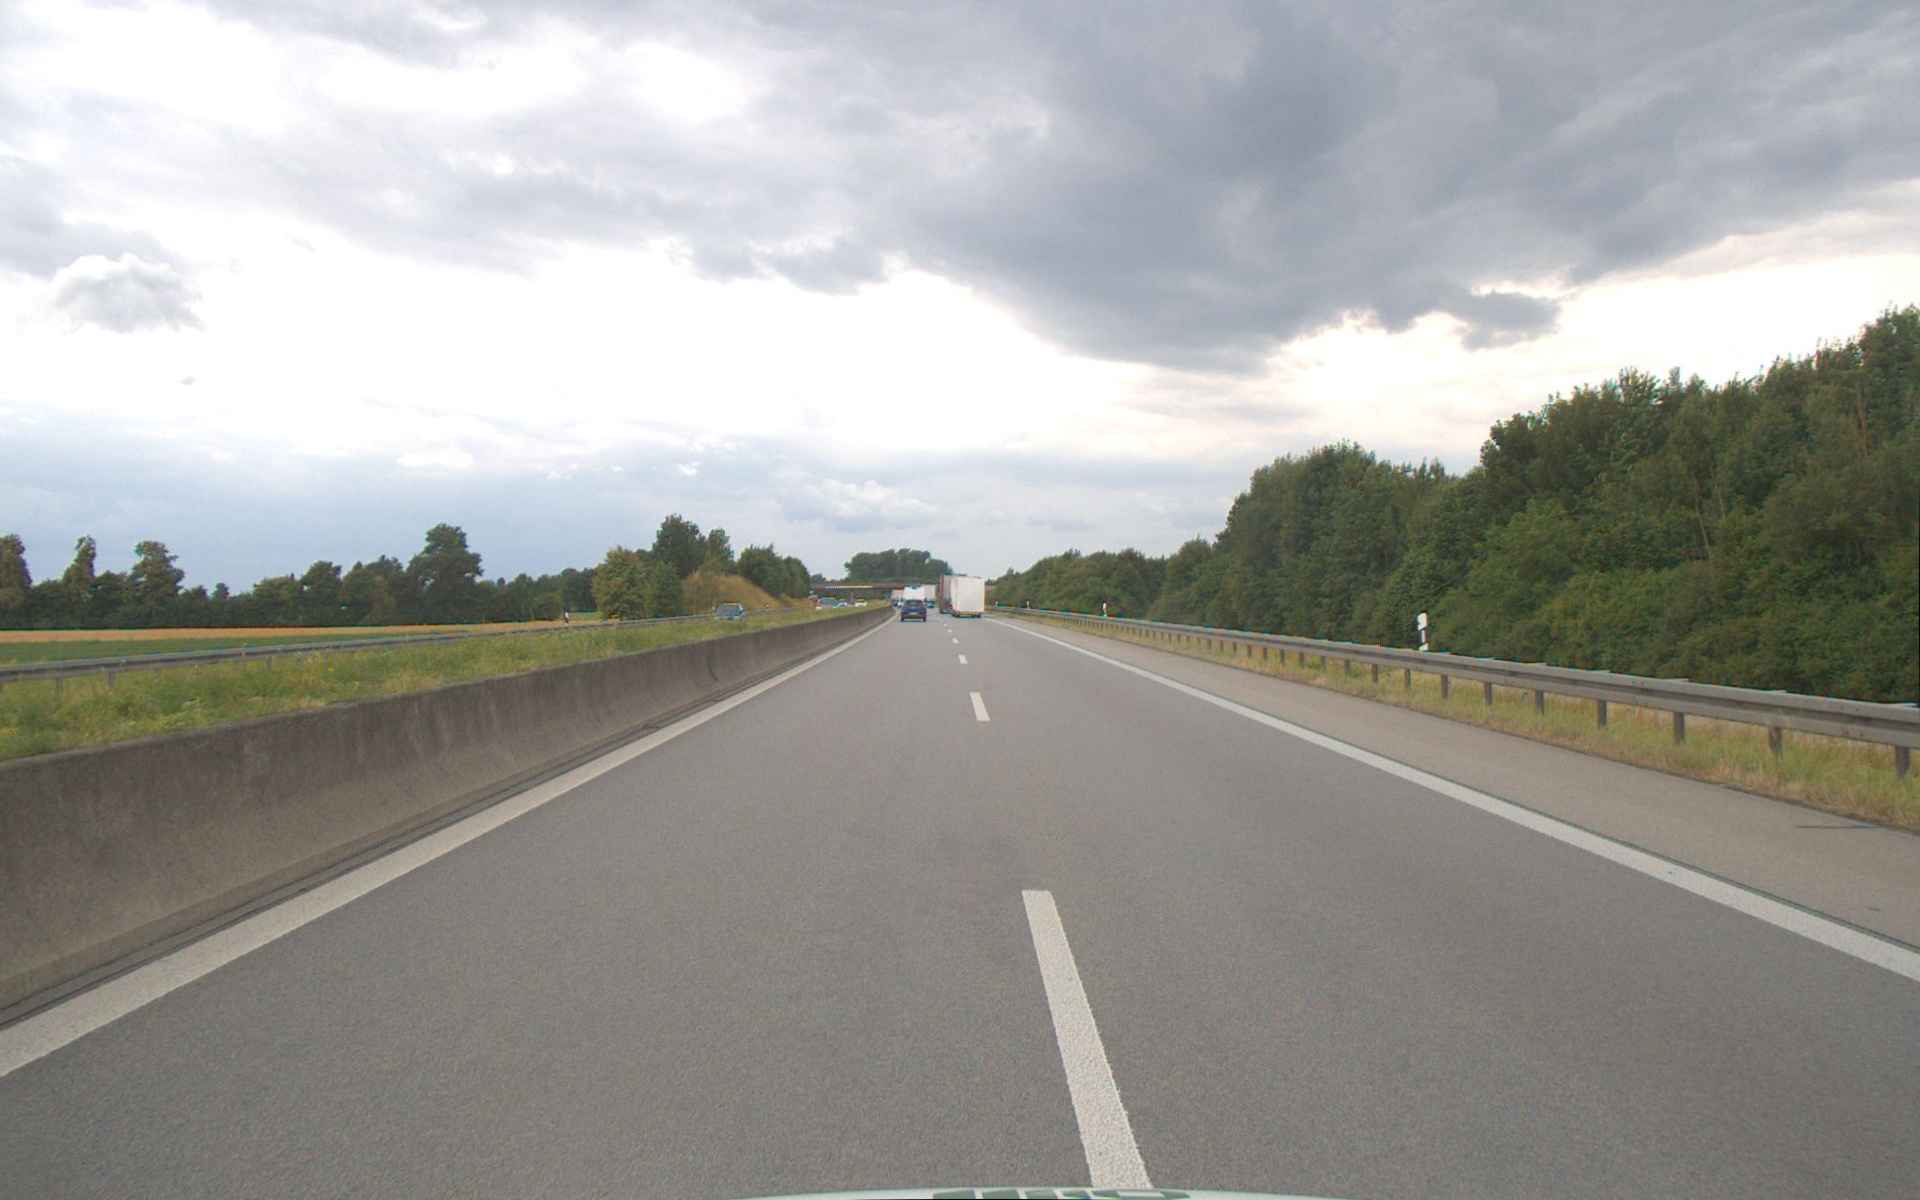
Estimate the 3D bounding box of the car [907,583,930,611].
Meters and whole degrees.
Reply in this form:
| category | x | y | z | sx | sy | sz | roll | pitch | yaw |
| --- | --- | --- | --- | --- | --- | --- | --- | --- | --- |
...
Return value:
| category | x | y | z | sx | sy | sz | roll | pitch | yaw |
| --- | --- | --- | --- | --- | --- | --- | --- | --- | --- |
| car | -3.774 | -0.250 | 150.217 | 2.087 | 2.526 | 5.837 | 0 | 0 | -1 |

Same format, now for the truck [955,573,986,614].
| category | x | y | z | sx | sy | sz | roll | pitch | yaw |
| --- | --- | --- | --- | --- | --- | --- | --- | --- | --- |
| truck | 0.821 | -0.489 | 133.320 | 2.366 | 3.279 | 7.142 | 0 | 0 | -1 |

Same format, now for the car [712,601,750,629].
| category | x | y | z | sx | sy | sz | roll | pitch | yaw |
| --- | --- | --- | --- | --- | --- | --- | --- | --- | --- |
| car | -13.623 | 0.881 | 98.672 | 1.711 | 1.513 | 4.529 | -2 | 0 | -1 |

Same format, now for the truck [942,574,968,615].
| category | x | y | z | sx | sy | sz | roll | pitch | yaw |
| --- | --- | --- | --- | --- | --- | --- | --- | --- | --- |
| truck | -0.514 | -0.570 | 170.181 | 2.618 | 4.116 | 11.106 | -1 | 0 | 0 |

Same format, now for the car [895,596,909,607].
| category | x | y | z | sx | sy | sz | roll | pitch | yaw |
| --- | --- | --- | --- | --- | --- | --- | --- | --- | --- |
| car | -8.965 | 0.289 | 256.658 | 1.955 | 1.713 | 3.995 | 0 | 0 | -6 |

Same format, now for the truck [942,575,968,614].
| category | x | y | z | sx | sy | sz | roll | pitch | yaw |
| --- | --- | --- | --- | --- | --- | --- | --- | --- | --- |
| truck | -0.548 | -0.601 | 175.543 | 2.618 | 4.116 | 5.512 | -1 | 0 | 0 |

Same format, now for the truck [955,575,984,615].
| category | x | y | z | sx | sy | sz | roll | pitch | yaw |
| --- | --- | --- | --- | --- | --- | --- | --- | --- | --- |
| truck | 0.752 | -0.431 | 140.514 | 2.380 | 3.300 | 7.246 | 0 | 0 | -1 |

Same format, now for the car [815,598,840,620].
| category | x | y | z | sx | sy | sz | roll | pitch | yaw |
| --- | --- | --- | --- | --- | --- | --- | --- | --- | --- |
| car | -10.931 | 0.742 | 136.328 | 1.804 | 1.724 | 4.356 | -2 | 0 | -2 |

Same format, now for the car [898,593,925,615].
| category | x | y | z | sx | sy | sz | roll | pitch | yaw |
| --- | --- | --- | --- | --- | --- | --- | --- | --- | --- |
| car | -3.194 | 0.260 | 108.352 | 1.630 | 1.432 | 3.646 | 0 | 0 | -3 |
